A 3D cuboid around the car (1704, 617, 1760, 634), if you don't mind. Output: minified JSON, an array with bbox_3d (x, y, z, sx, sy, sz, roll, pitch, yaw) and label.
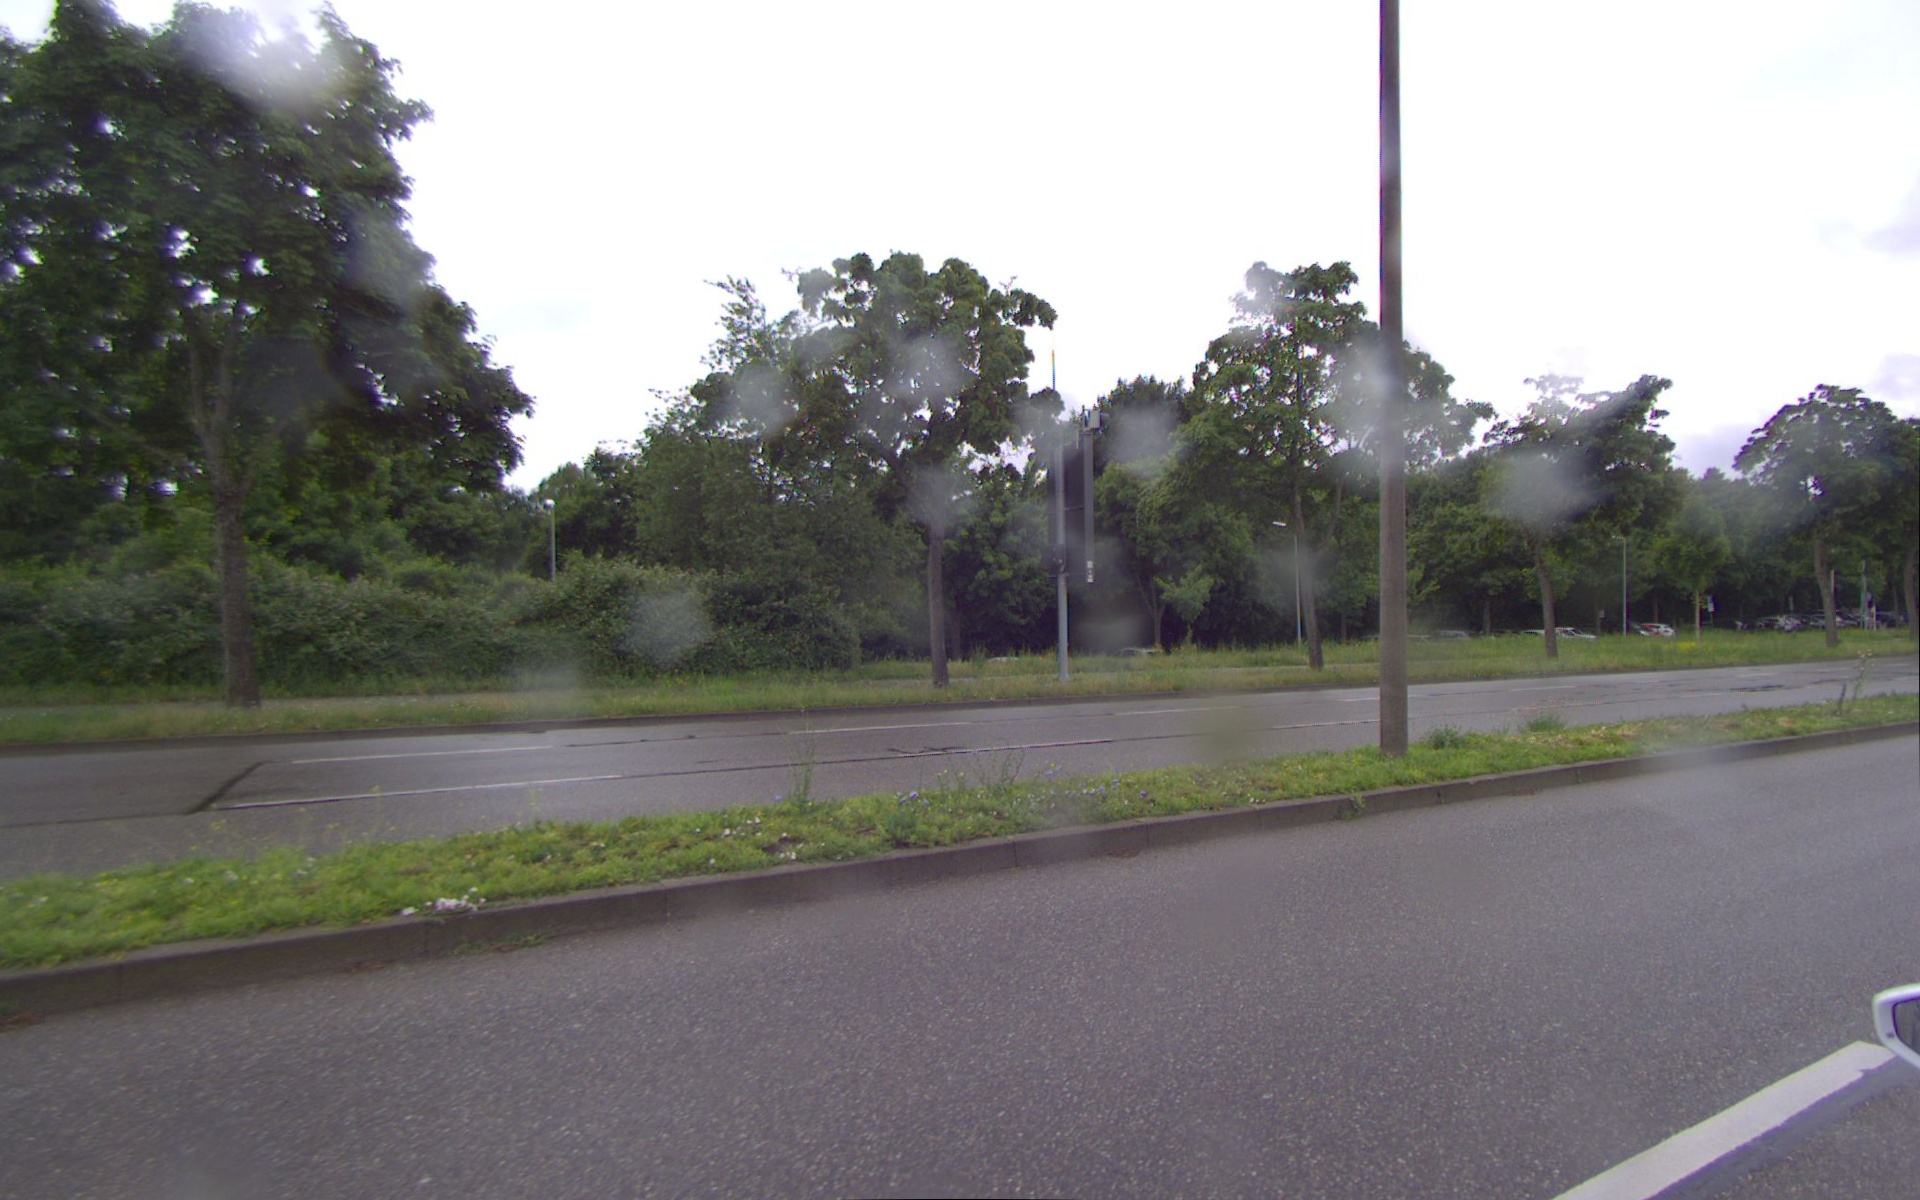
[{"bbox_3d":[68.708,2.272,89.447,1.474,1.445,3.708,0,-1,-36],"label":"car"}]

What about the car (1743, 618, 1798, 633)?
[{"bbox_3d":[76.984,2.415,95.461,1.510,1.471,3.808,0,-1,-36],"label":"car"}]

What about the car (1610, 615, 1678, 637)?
[{"bbox_3d":[52.708,1.978,77.465,1.893,1.661,3.959,0,-1,-36],"label":"car"}]

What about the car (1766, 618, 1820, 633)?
[{"bbox_3d":[81.369,2.507,98.149,1.510,1.471,3.808,0,-1,-36],"label":"car"}]

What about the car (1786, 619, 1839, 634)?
[{"bbox_3d":[85.531,2.634,100.853,1.510,1.471,3.808,0,-1,-36],"label":"car"}]

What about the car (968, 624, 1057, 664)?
[{"bbox_3d":[2.337,1.960,45.646,1.981,1.707,3.959,0,-1,-36],"label":"car"}]

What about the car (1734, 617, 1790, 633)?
[{"bbox_3d":[74.874,2.359,93.839,1.510,1.471,3.808,0,-1,-36],"label":"car"}]

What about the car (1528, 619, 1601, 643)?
[{"bbox_3d":[42.551,2.173,70.755,1.981,1.639,3.959,0,-1,-36],"label":"car"}]
